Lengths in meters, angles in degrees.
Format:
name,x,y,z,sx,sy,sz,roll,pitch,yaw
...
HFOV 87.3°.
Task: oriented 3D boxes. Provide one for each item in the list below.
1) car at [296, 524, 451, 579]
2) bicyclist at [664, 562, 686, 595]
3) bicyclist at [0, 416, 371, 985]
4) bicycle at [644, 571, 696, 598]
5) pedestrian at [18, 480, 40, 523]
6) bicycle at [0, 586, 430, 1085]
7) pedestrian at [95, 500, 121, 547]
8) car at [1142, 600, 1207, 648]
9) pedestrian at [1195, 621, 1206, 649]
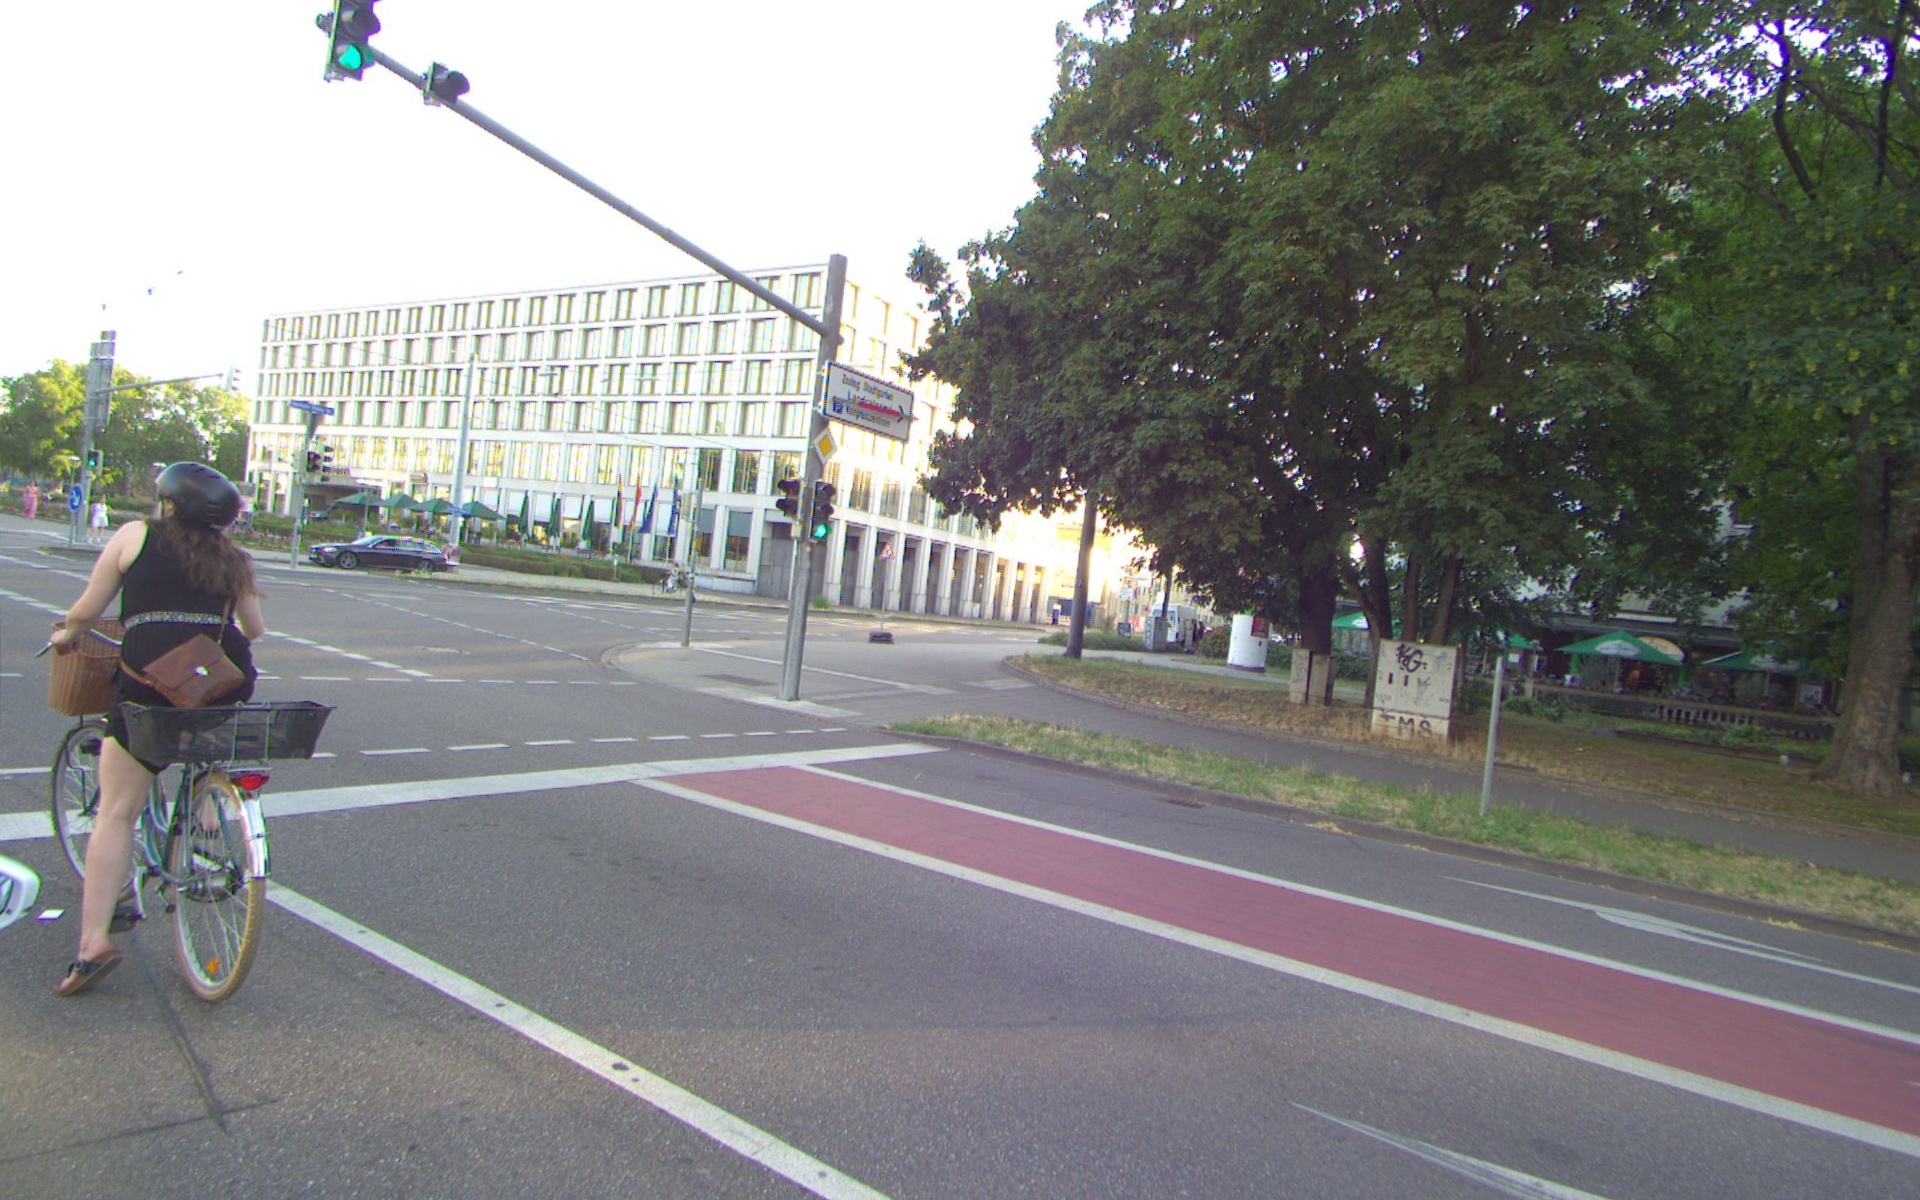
name,x,y,z,sx,sy,sz,roll,pitch,yaw
car,-22.947,-1.861,39.529,1.968,1.534,4.826,7,0,34
bicyclist,-14.261,-1.072,50.300,0.567,1.556,0.708,7,1,29
bicyclist,-2.677,0.271,3.429,0.982,1.655,0.600,7,0,32
bicycle,-14.418,-0.752,50.076,0.592,1.120,2.775,7,0,29
pedestrian,-38.584,-4.084,41.691,0.557,1.678,0.460,7,2,32
bicycle,-2.731,0.636,3.429,1.971,1.146,0.612,7,-1,32
pedestrian,-29.806,-2.661,35.187,0.402,1.559,0.491,7,2,31
car,11.918,1.347,55.689,1.967,2.318,4.605,6,0,31
pedestrian,13.348,1.941,55.816,0.302,1.525,0.336,7,-1,31
